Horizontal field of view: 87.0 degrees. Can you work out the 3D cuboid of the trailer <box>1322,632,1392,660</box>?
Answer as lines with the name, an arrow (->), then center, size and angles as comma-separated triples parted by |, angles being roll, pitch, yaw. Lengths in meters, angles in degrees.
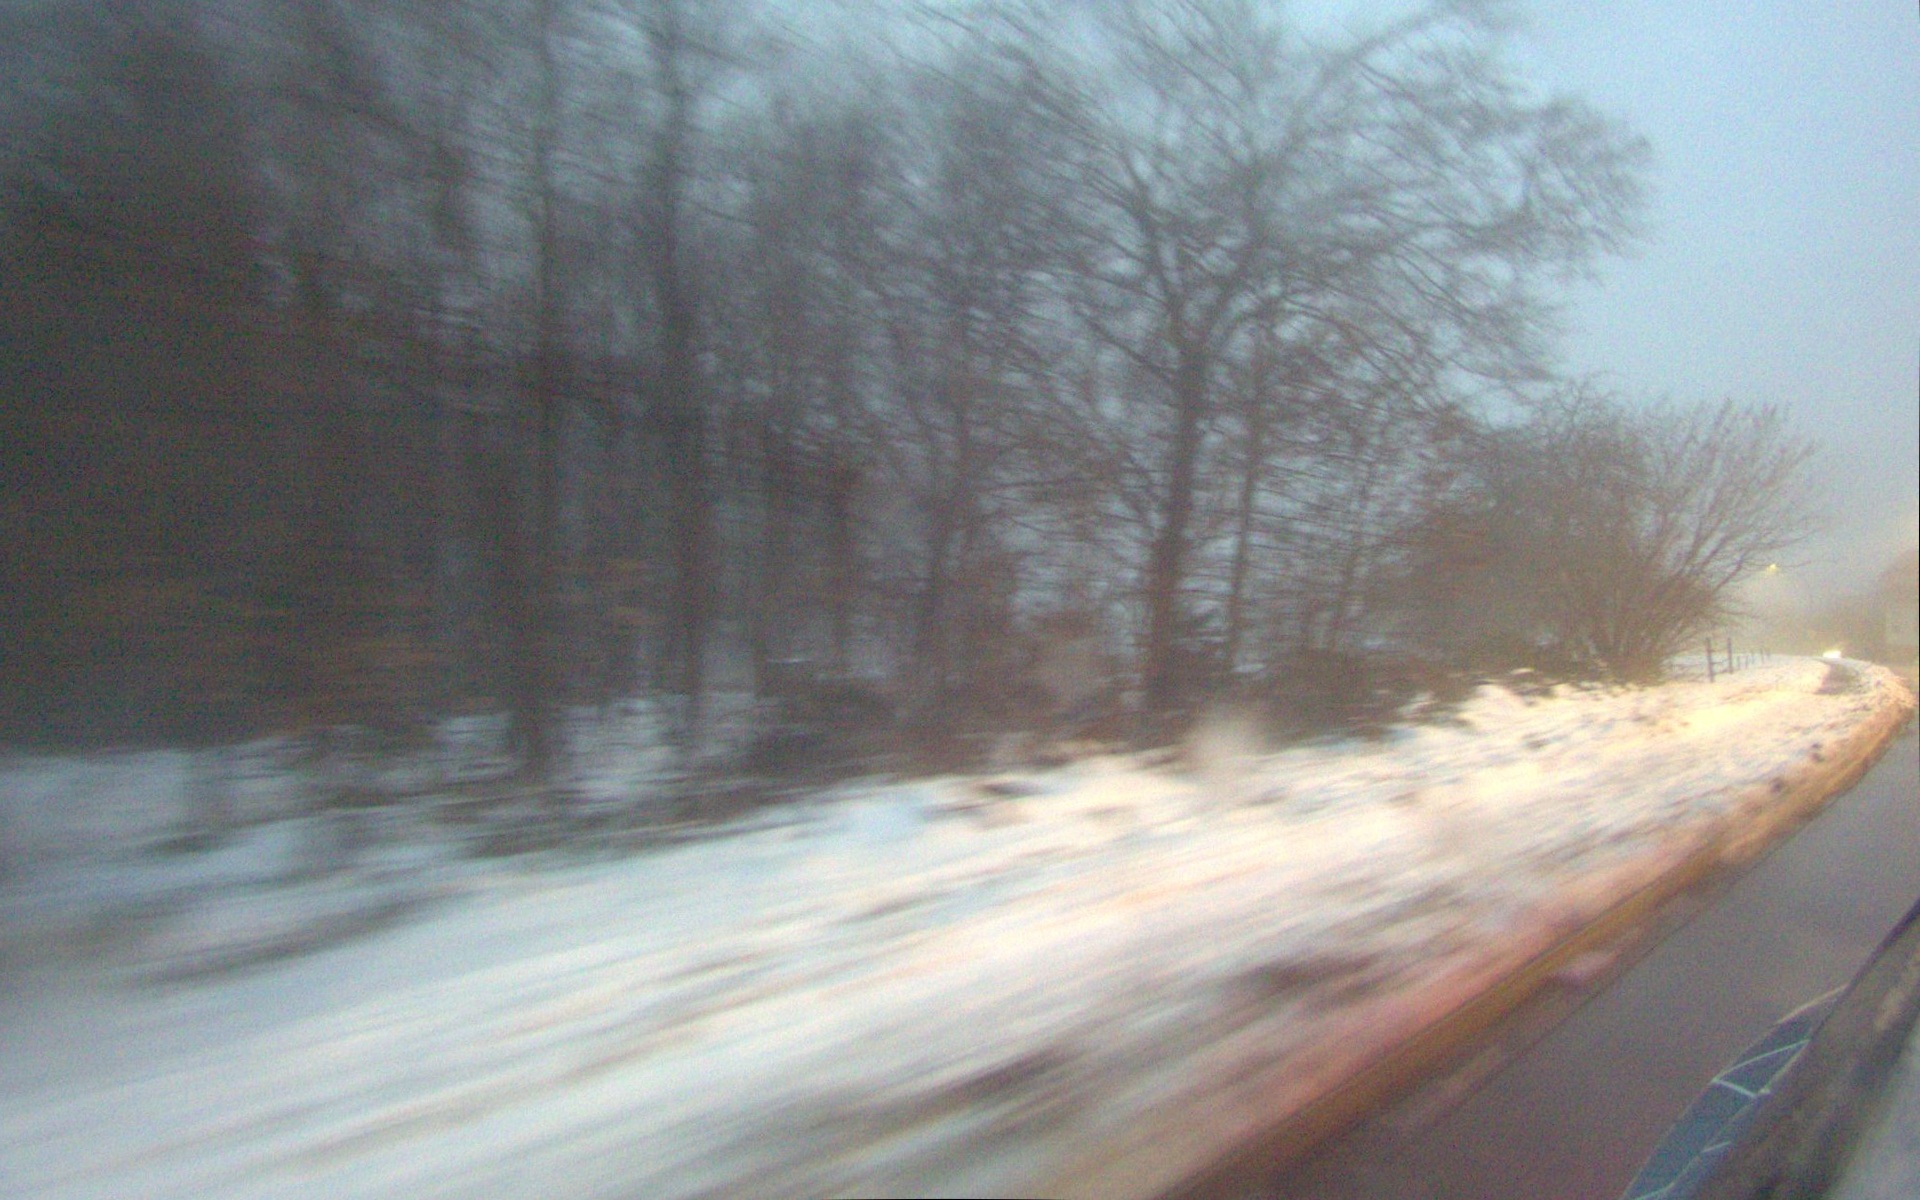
trailer -> 29.511, 3.441, 75.207 | 4.706, 1.968, 2.203 | -2, -4, 26

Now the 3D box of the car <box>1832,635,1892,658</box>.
car -> 60.905, 3.178, 68.425 | 1.866, 1.445, 5.334 | -1, -4, 29
